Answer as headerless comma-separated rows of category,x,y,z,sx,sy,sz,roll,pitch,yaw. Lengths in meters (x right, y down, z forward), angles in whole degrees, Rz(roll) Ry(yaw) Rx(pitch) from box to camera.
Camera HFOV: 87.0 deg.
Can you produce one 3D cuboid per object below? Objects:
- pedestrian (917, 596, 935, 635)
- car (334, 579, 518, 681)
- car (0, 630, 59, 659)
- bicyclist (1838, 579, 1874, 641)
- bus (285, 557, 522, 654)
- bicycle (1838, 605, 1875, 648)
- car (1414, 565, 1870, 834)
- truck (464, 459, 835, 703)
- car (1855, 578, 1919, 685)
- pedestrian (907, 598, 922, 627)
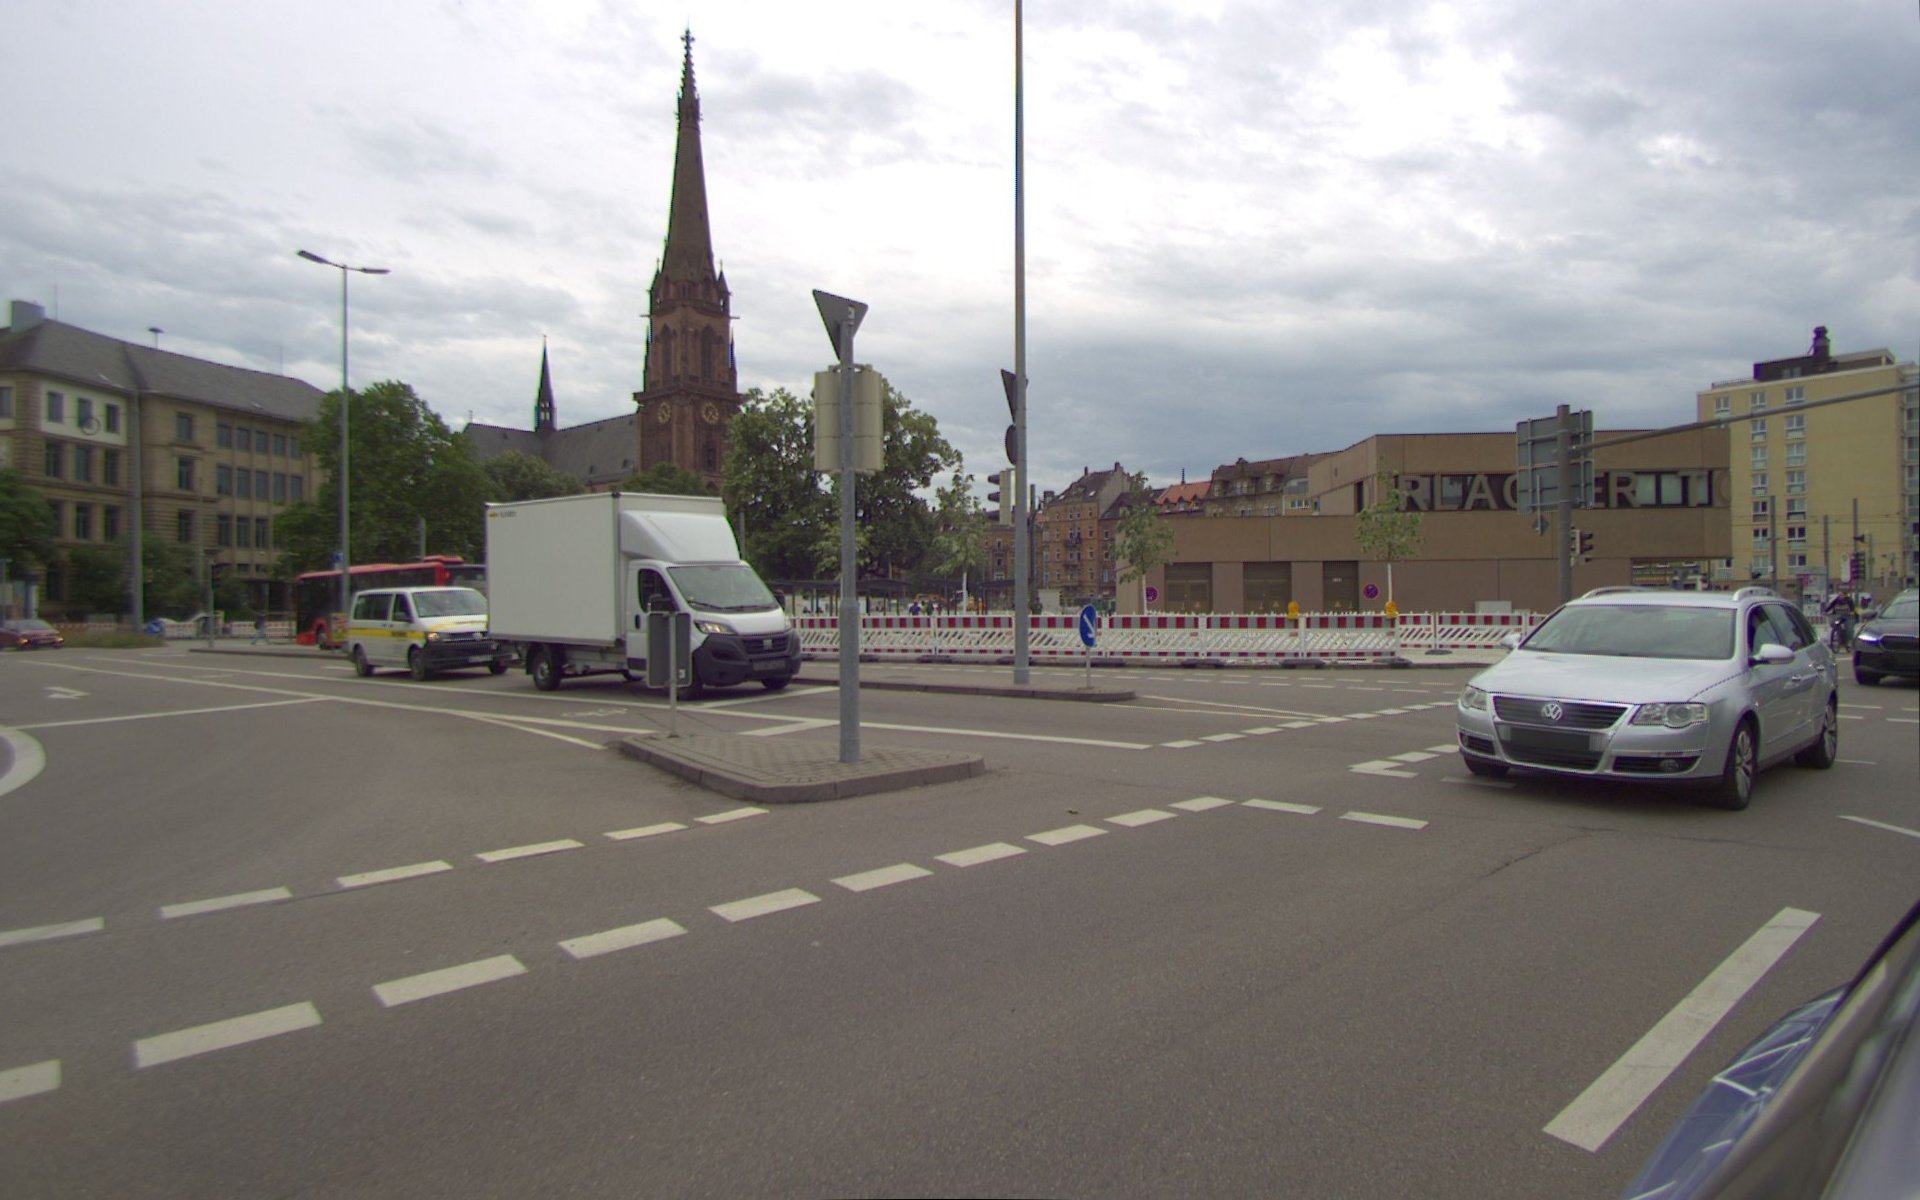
pedestrian,-1.467,0.675,43.790,0.611,1.684,0.499,1,0,-32
car,-11.784,0.613,22.201,4.692,1.943,1.894,-1,2,40
car,-44.615,2.096,48.260,3.506,1.171,1.432,1,0,30
bicyclist,24.448,0.261,27.618,0.691,1.656,0.871,1,0,40
bus,-19.778,0.280,35.405,12.031,2.945,2.897,-1,-1,39
bicycle,24.523,0.705,27.711,0.691,1.144,1.841,1,0,40
car,5.586,0.563,8.051,4.446,1.570,1.829,0,0,-39
truck,-5.541,-0.232,17.412,6.814,3.454,2.527,-2,0,37
car,16.689,0.454,16.793,4.408,1.645,1.912,-1,0,-37
pedestrian,-1.959,0.520,43.257,0.571,1.239,0.481,1,0,-10
